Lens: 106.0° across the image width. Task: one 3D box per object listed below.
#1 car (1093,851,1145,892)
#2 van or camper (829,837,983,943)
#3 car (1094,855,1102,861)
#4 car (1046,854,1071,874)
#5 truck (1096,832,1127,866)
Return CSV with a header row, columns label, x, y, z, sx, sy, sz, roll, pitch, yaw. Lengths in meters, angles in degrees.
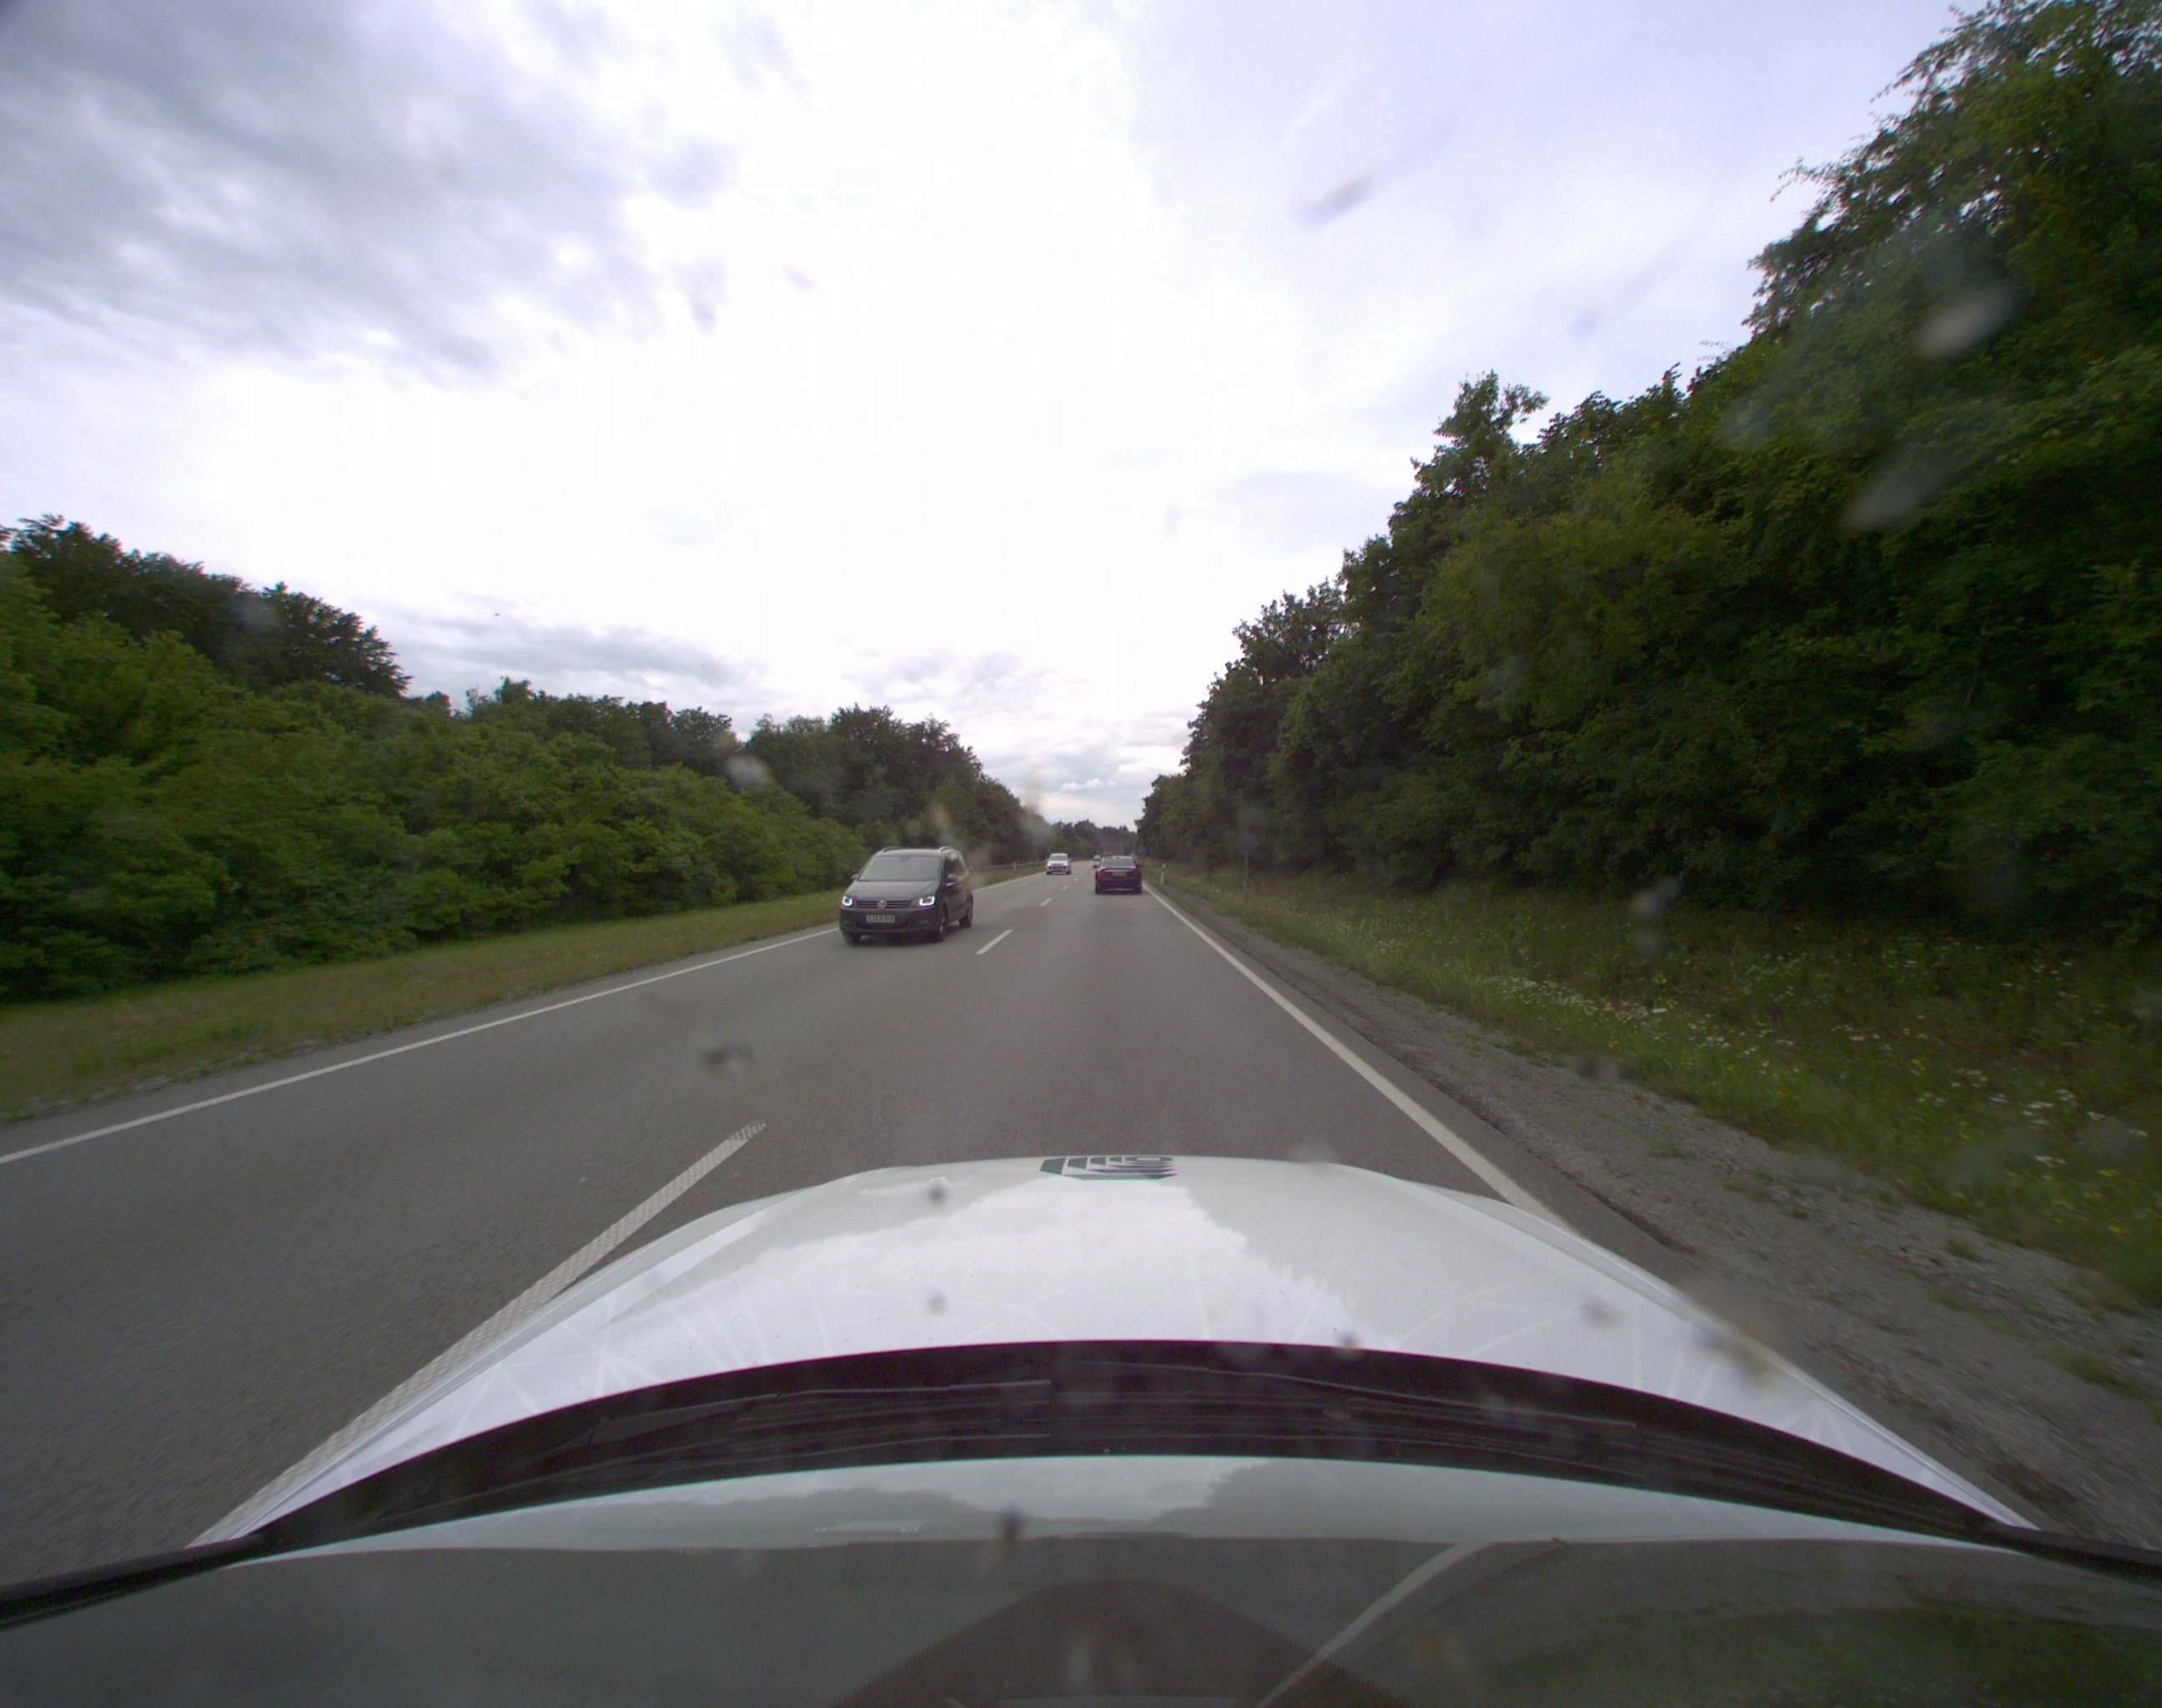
label,x,y,z,sx,sy,sz,roll,pitch,yaw
car,1.473,0.662,32.665,1.786,1.552,3.998,-1,0,-1
van or camper,-3.249,0.623,16.110,1.986,1.783,4.423,-1,0,1
car,3.907,0.922,191.906,1.802,1.442,4.447,-1,0,0
car,-1.808,0.771,66.624,1.868,1.559,3.756,-1,0,2
truck,3.481,-0.528,92.574,3.268,3.611,11.407,-1,0,3
